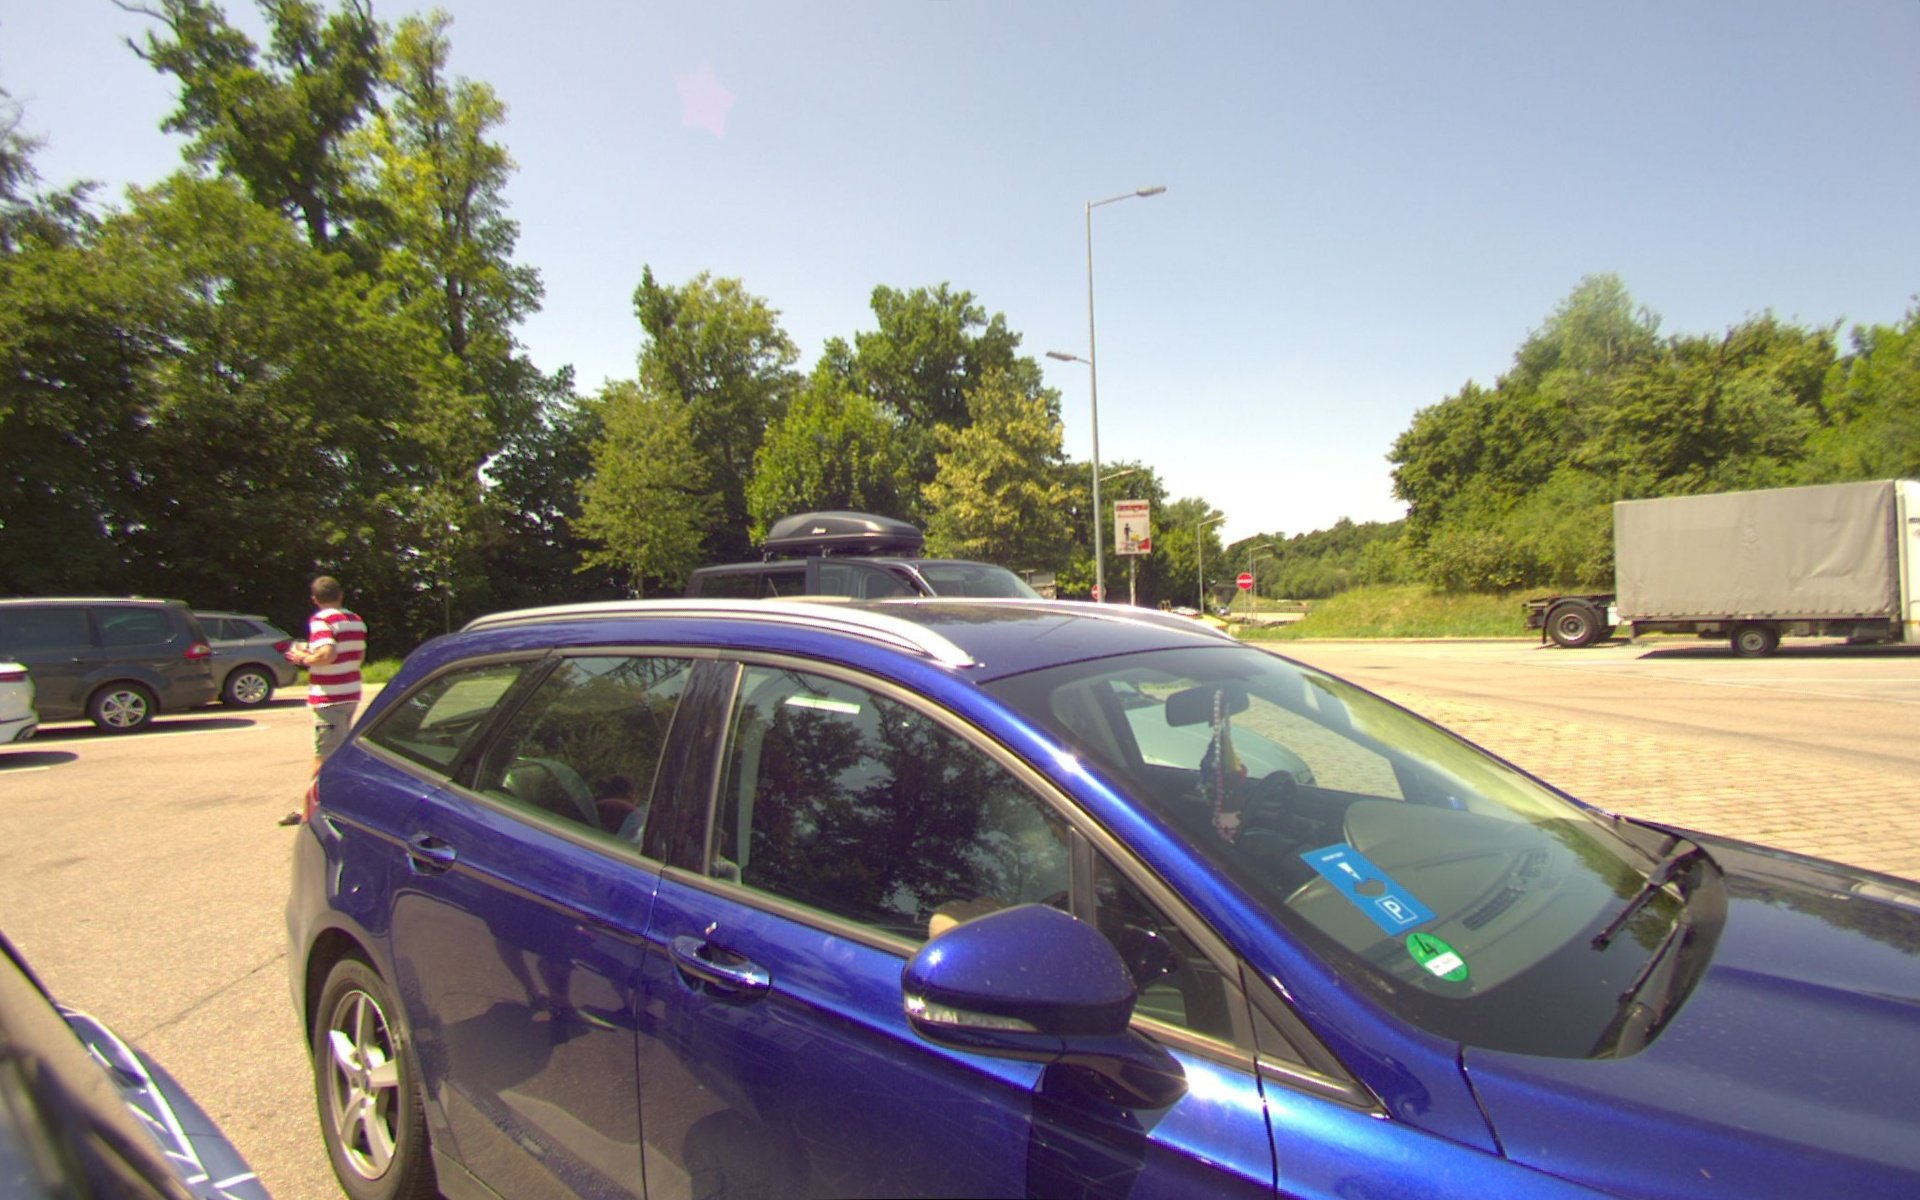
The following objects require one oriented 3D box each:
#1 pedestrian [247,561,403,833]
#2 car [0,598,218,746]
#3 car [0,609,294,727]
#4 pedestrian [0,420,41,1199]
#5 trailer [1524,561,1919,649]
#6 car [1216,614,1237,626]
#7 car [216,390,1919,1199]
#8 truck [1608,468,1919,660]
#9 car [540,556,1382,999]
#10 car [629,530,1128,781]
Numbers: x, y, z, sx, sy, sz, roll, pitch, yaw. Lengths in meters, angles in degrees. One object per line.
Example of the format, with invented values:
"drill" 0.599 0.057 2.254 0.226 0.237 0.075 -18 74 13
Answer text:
"pedestrian" -4.384 0.625 7.048 0.771 1.767 0.758 -1 0 -20
"car" -11.635 0.863 12.651 3.767 1.708 1.654 -1 0 -38
"car" -12.627 0.967 15.658 3.767 1.572 1.654 -1 0 -38
"pedestrian" -2.731 0.519 2.237 0.905 1.919 0.816 -1 0 -33
"trailer" 17.702 0.161 23.104 8.098 1.638 2.187 -4 -1 41
"car" 47.464 3.607 180.155 1.966 2.029 4.011 -1 0 -14
"car" 0.230 0.634 2.068 4.569 1.482 1.735 -3 0 40
"truck" 16.778 -0.644 19.006 7.274 3.269 2.678 -4 -1 42
"car" -0.325 0.669 5.605 4.569 1.517 1.735 -3 0 40
"car" -0.896 0.498 9.653 4.558 1.912 1.740 -3 0 32
